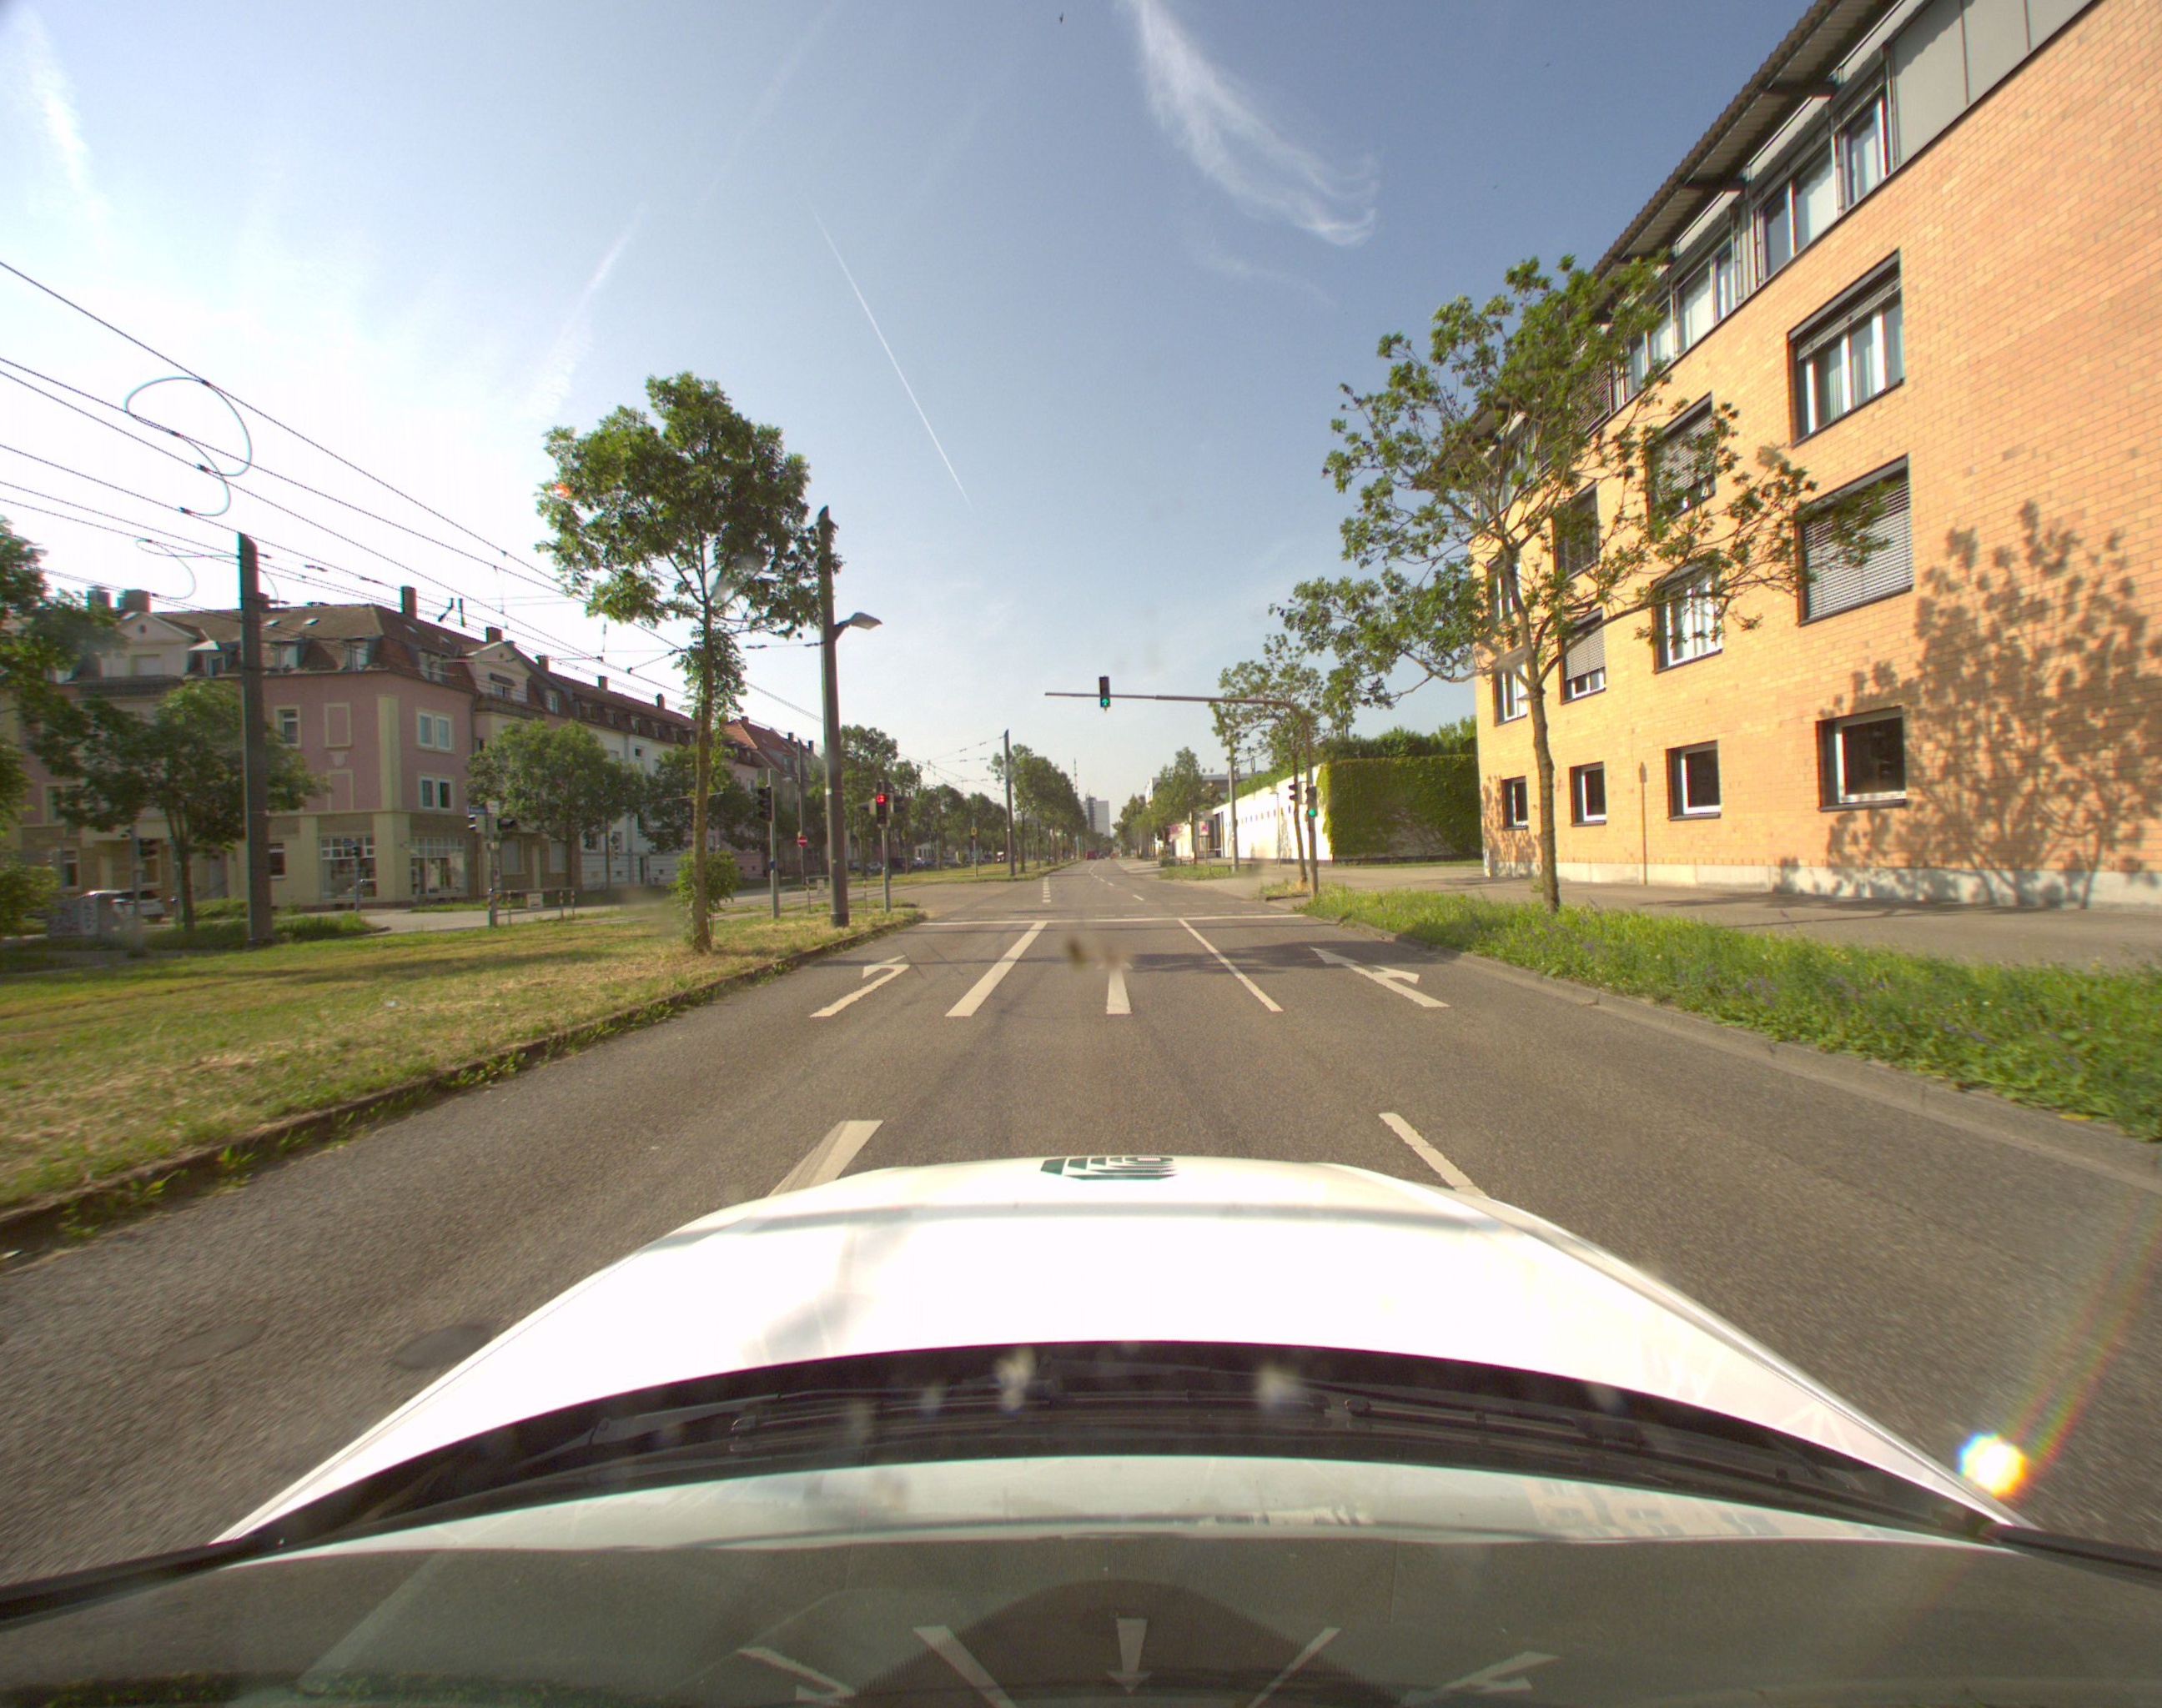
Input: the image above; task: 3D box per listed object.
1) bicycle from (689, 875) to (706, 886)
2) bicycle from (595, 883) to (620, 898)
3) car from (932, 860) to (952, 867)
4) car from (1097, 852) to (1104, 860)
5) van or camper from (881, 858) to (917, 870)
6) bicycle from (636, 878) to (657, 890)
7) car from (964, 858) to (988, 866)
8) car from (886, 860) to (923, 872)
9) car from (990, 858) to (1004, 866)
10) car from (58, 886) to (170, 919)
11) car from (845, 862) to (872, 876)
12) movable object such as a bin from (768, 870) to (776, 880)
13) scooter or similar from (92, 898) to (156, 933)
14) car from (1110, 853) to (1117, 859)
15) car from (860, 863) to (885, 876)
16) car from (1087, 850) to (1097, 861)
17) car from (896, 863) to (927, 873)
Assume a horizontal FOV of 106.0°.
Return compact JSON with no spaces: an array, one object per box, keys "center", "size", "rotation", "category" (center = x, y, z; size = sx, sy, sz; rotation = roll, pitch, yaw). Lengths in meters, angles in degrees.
[{"center":[-30.835,2.114,65.502],"size":[0.446,0.857,1.947],"rotation":[0,-1,0],"category":"bicycle"},{"center":[-30.616,2.350,52.725],"size":[0.466,0.889,1.947],"rotation":[0,-1,0],"category":"bicycle"},{"center":[-23.335,1.650,137.067],"size":[3.124,1.161,1.506],"rotation":[-1,-1,34],"category":"car"},{"center":[5.312,0.485,219.910],"size":[1.741,2.014,3.217],"rotation":[0,-1,2],"category":"car"},{"center":[-24.987,1.429,111.854],"size":[4.787,1.623,2.015],"rotation":[-1,-1,34],"category":"van or camper"},{"center":[-31.151,2.155,58.438],"size":[0.436,0.789,1.947],"rotation":[0,-1,0],"category":"bicycle"},{"center":[-22.811,1.829,176.496],"size":[5.258,1.738,2.013],"rotation":[-1,-1,35],"category":"car"},{"center":[-24.781,1.685,114.377],"size":[5.155,1.623,2.070],"rotation":[0,-1,32],"category":"car"},{"center":[-17.585,1.678,170.793],"size":[1.955,1.694,4.303],"rotation":[0,-1,5],"category":"car"},{"center":[-46.082,2.296,38.853],"size":[3.387,1.461,1.569],"rotation":[0,-1,-1],"category":"car"},{"center":[-26.866,1.836,98.364],"size":[1.987,1.628,4.774],"rotation":[0,0,0],"category":"car"},{"center":[-35.244,2.404,92.867],"size":[0.583,1.211,0.640],"rotation":[0,-1,0],"category":"movable object such as a bin"},{"center":[-32.231,2.057,27.459],"size":[0.742,1.069,1.478],"rotation":[0,-1,-20],"category":"scooter or similar"},{"center":[9.011,0.658,225.310],"size":[1.741,1.650,3.217],"rotation":[0,-1,2],"category":"car"},{"center":[-26.707,1.936,104.400],"size":[1.881,1.628,4.161],"rotation":[0,0,4],"category":"car"},{"center":[2.027,0.288,151.791],"size":[1.741,2.014,3.217],"rotation":[0,-1,2],"category":"car"},{"center":[-24.432,1.959,117.495],"size":[4.419,1.419,1.988],"rotation":[-1,-1,39],"category":"car"}]
